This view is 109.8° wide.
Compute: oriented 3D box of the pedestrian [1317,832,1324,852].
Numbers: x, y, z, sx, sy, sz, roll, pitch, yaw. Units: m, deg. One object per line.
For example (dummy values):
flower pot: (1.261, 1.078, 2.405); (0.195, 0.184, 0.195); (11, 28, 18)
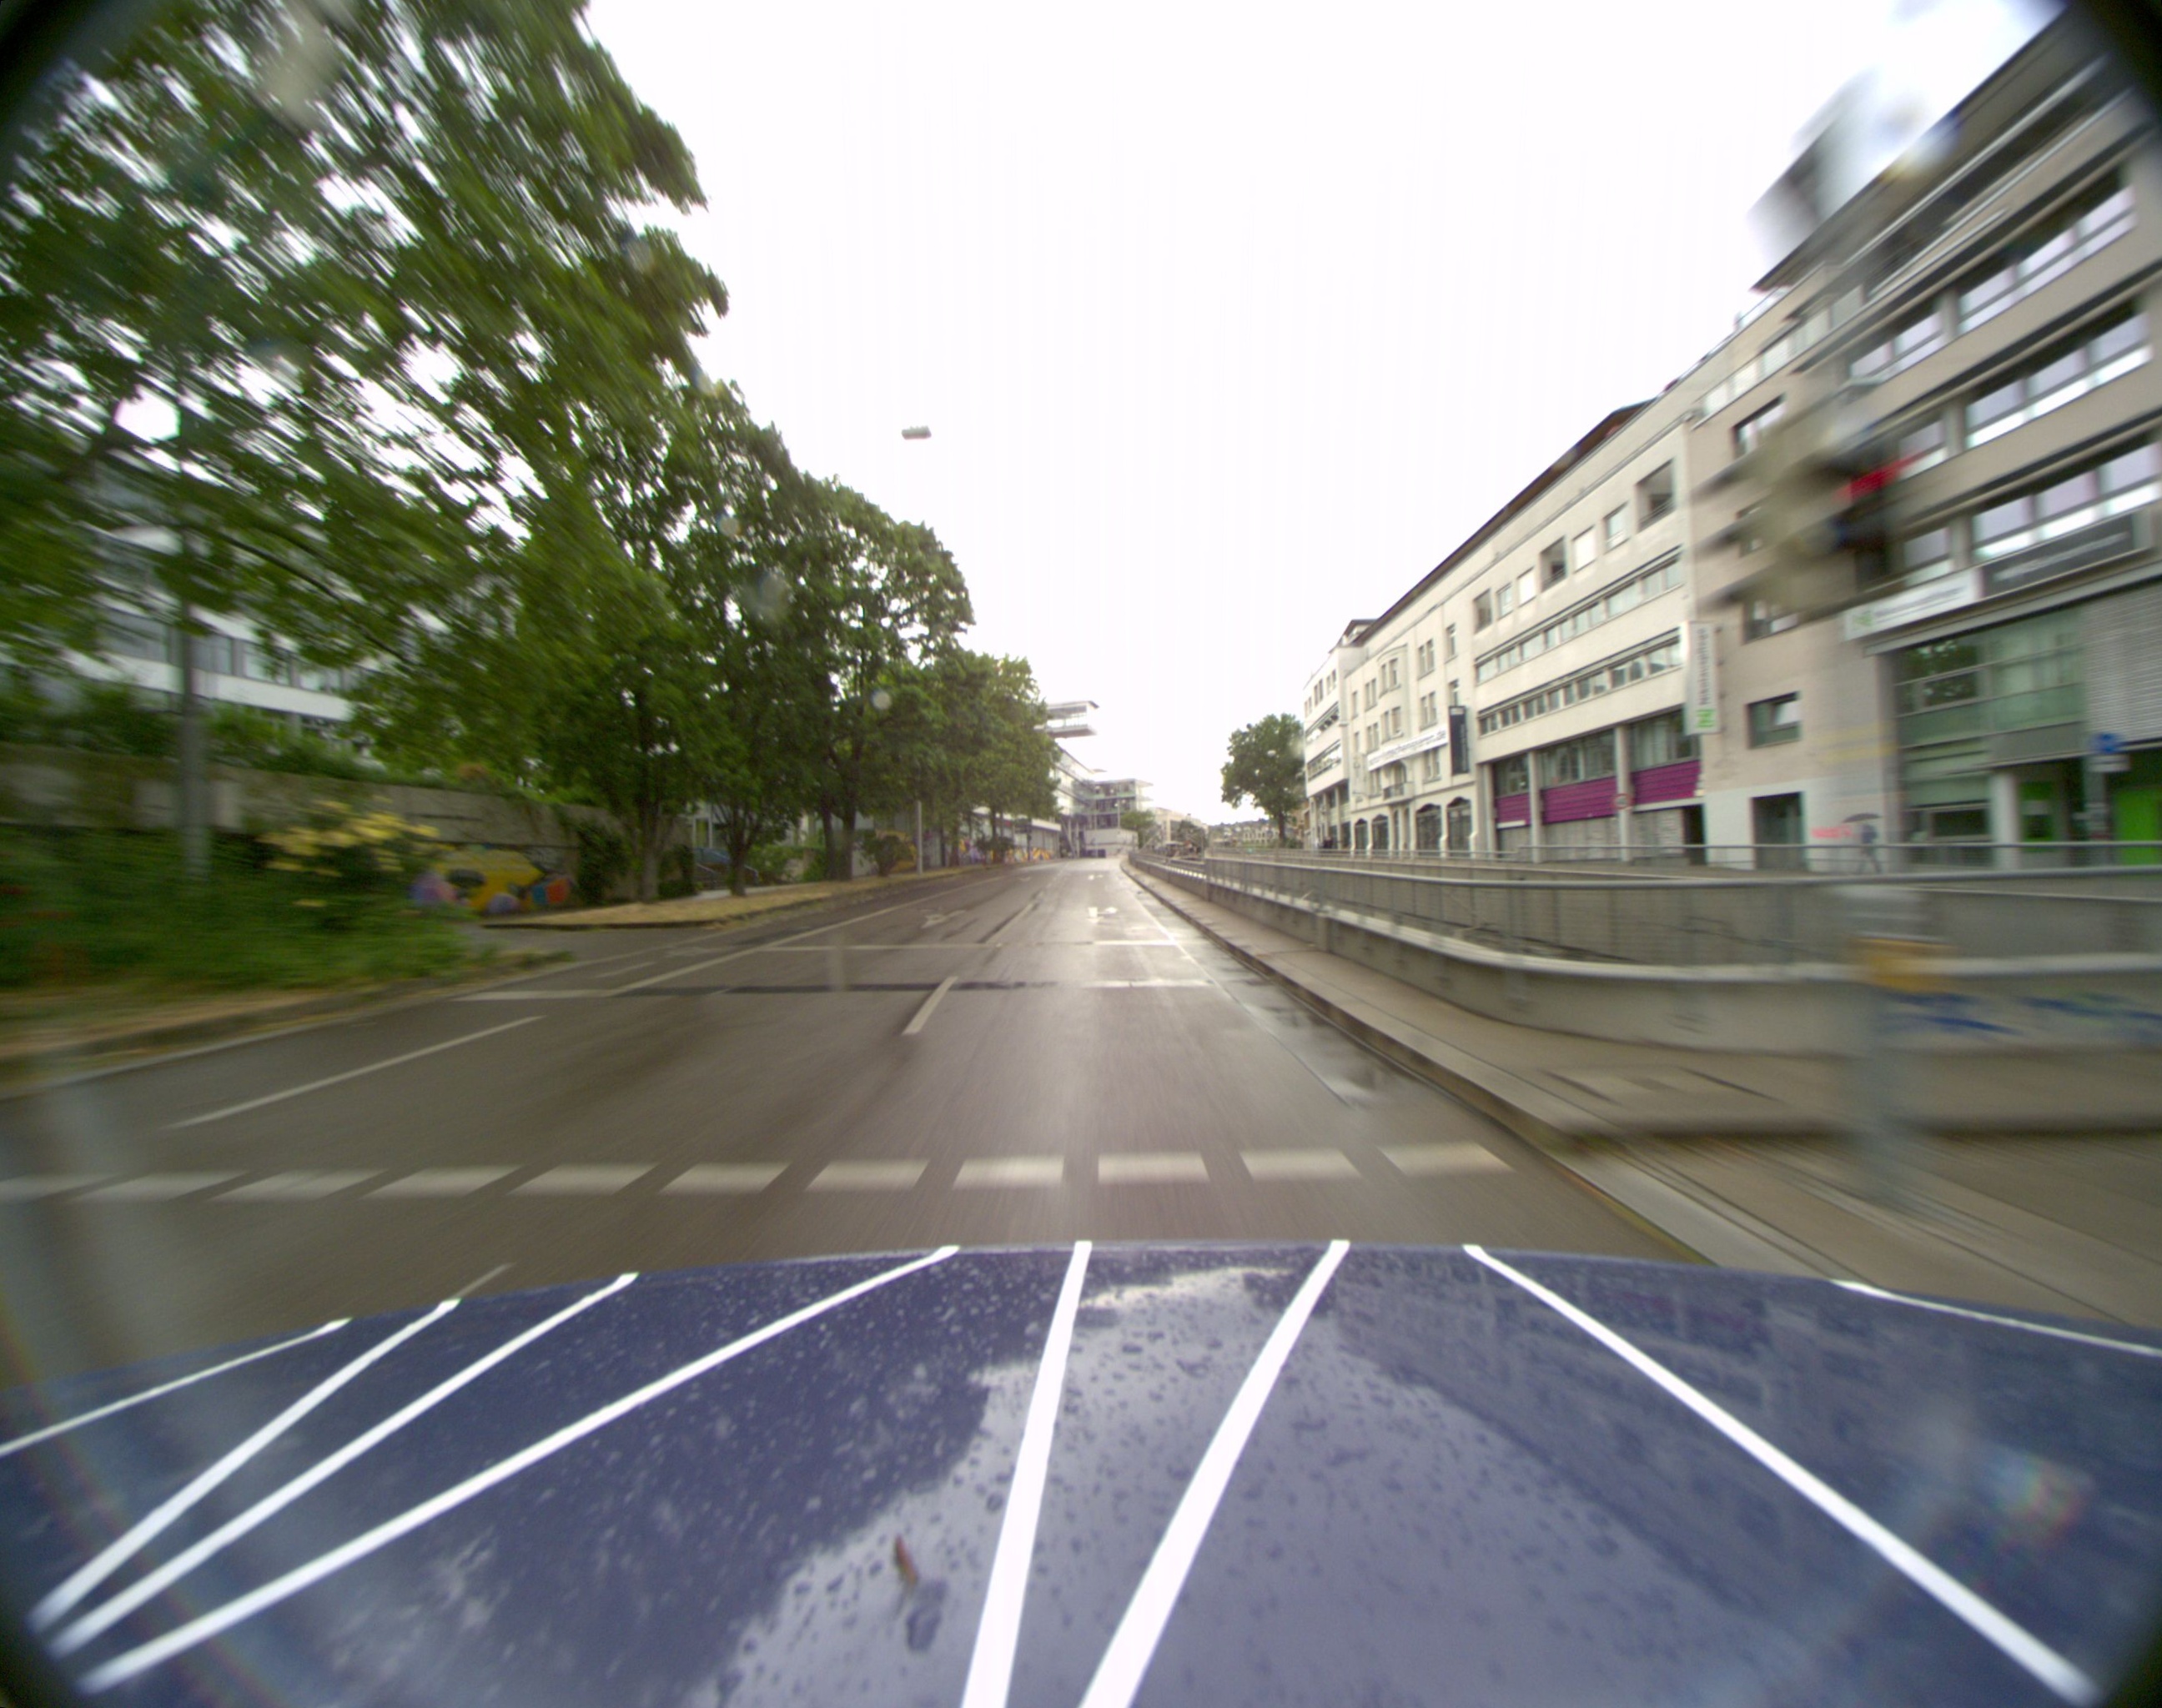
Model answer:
pedestrian: (21.902, -1.064, 69.437); (0.469, 1.792, 0.547); (-3, 1, 8)

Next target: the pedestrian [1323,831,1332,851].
pedestrian: (22.625, -1.181, 69.662); (0.547, 1.792, 0.470); (-3, 1, -7)

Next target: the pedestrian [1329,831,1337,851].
pedestrian: (22.722, -1.157, 68.401); (0.470, 1.792, 0.547); (-3, 1, 3)

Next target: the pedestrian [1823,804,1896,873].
pedestrian: (21.400, -0.419, 20.906); (0.859, 1.827, 1.059); (-3, 1, 1)
